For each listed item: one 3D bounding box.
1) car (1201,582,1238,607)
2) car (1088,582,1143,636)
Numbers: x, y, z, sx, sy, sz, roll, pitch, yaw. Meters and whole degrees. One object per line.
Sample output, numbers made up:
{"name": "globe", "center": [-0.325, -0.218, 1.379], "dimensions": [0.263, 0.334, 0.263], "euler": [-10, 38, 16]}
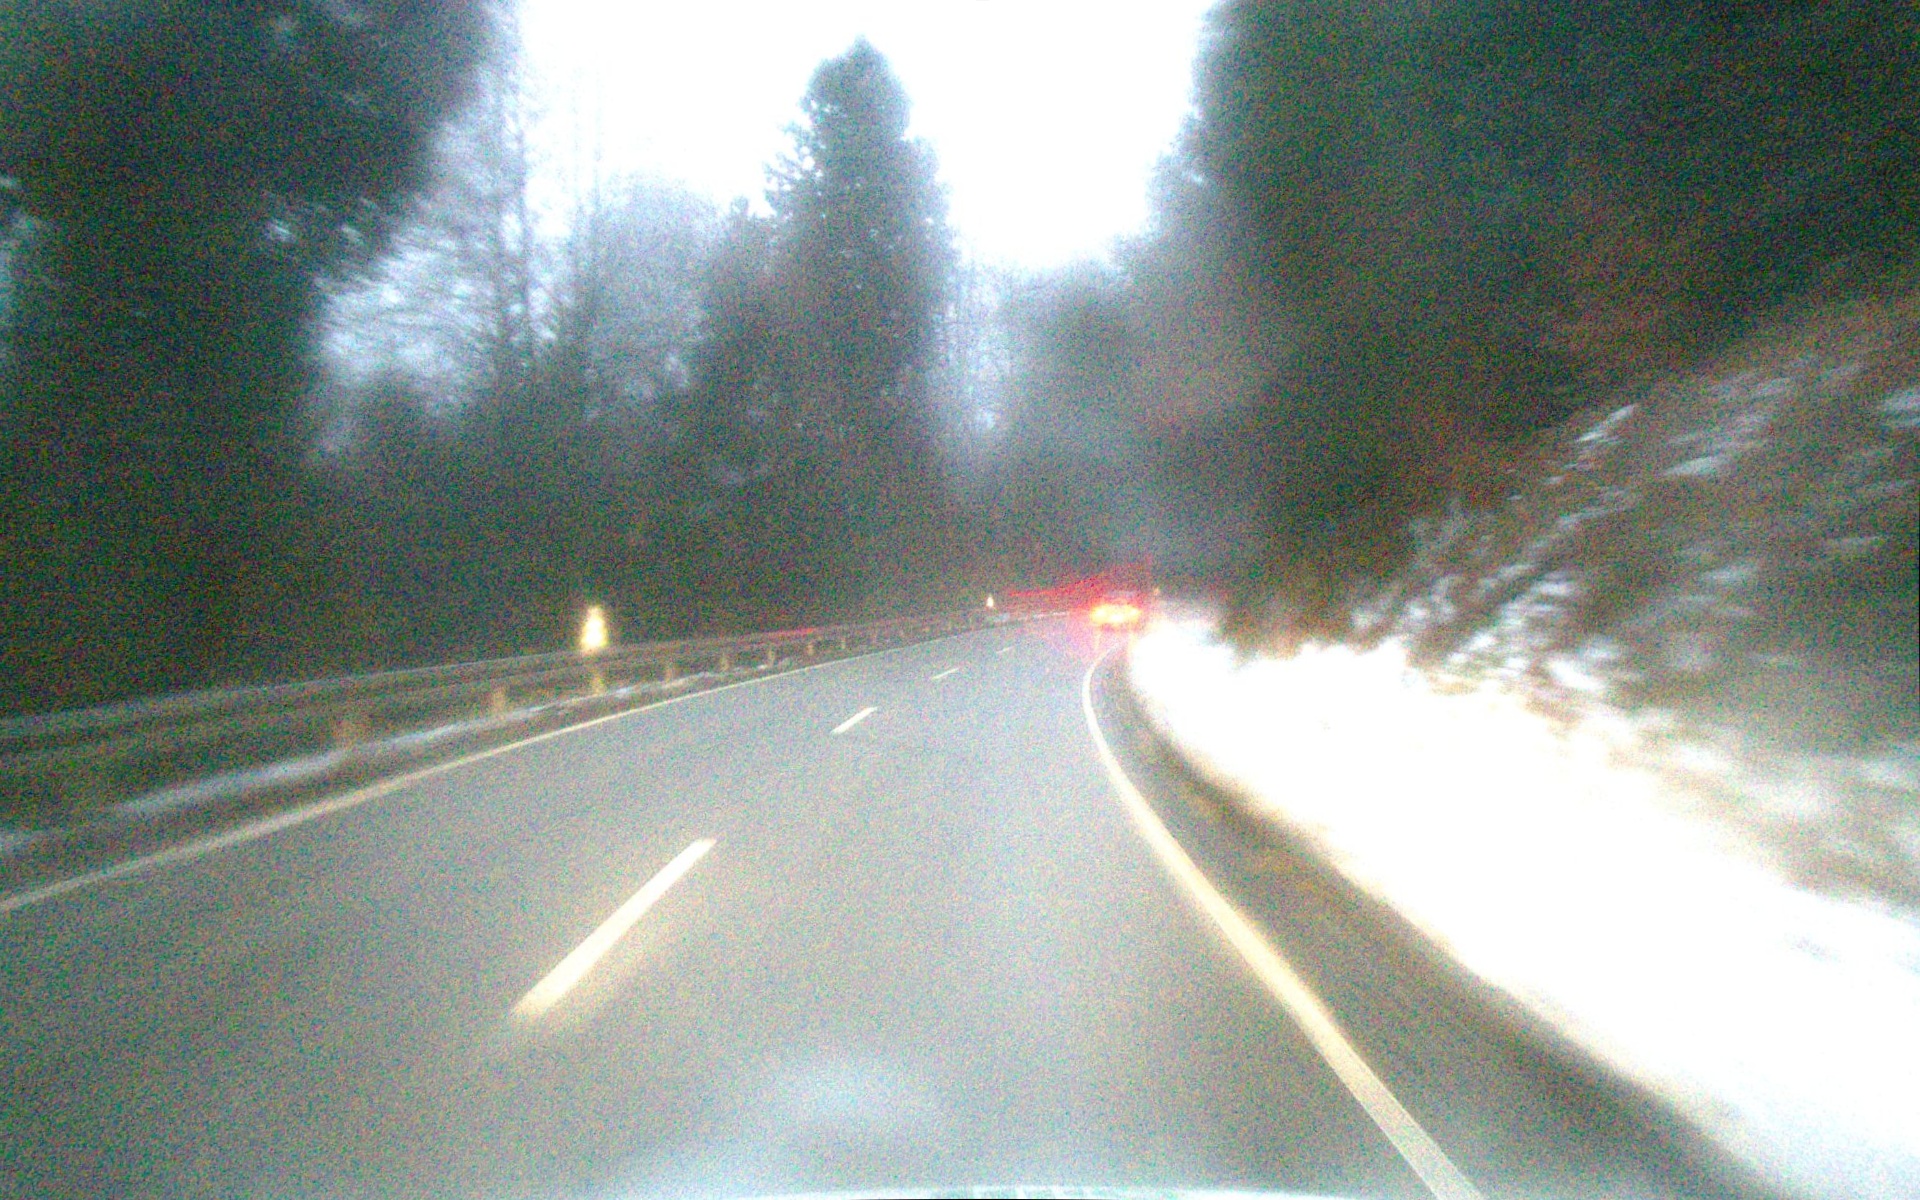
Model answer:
{"name": "car", "center": [14.805, -0.324, 94.482], "dimensions": [1.951, 1.333, 4.003], "euler": [-2, 0, 8]}
{"name": "car", "center": [5.958, 0.325, 63.009], "dimensions": [1.951, 1.905, 4.003], "euler": [-2, 0, 6]}
